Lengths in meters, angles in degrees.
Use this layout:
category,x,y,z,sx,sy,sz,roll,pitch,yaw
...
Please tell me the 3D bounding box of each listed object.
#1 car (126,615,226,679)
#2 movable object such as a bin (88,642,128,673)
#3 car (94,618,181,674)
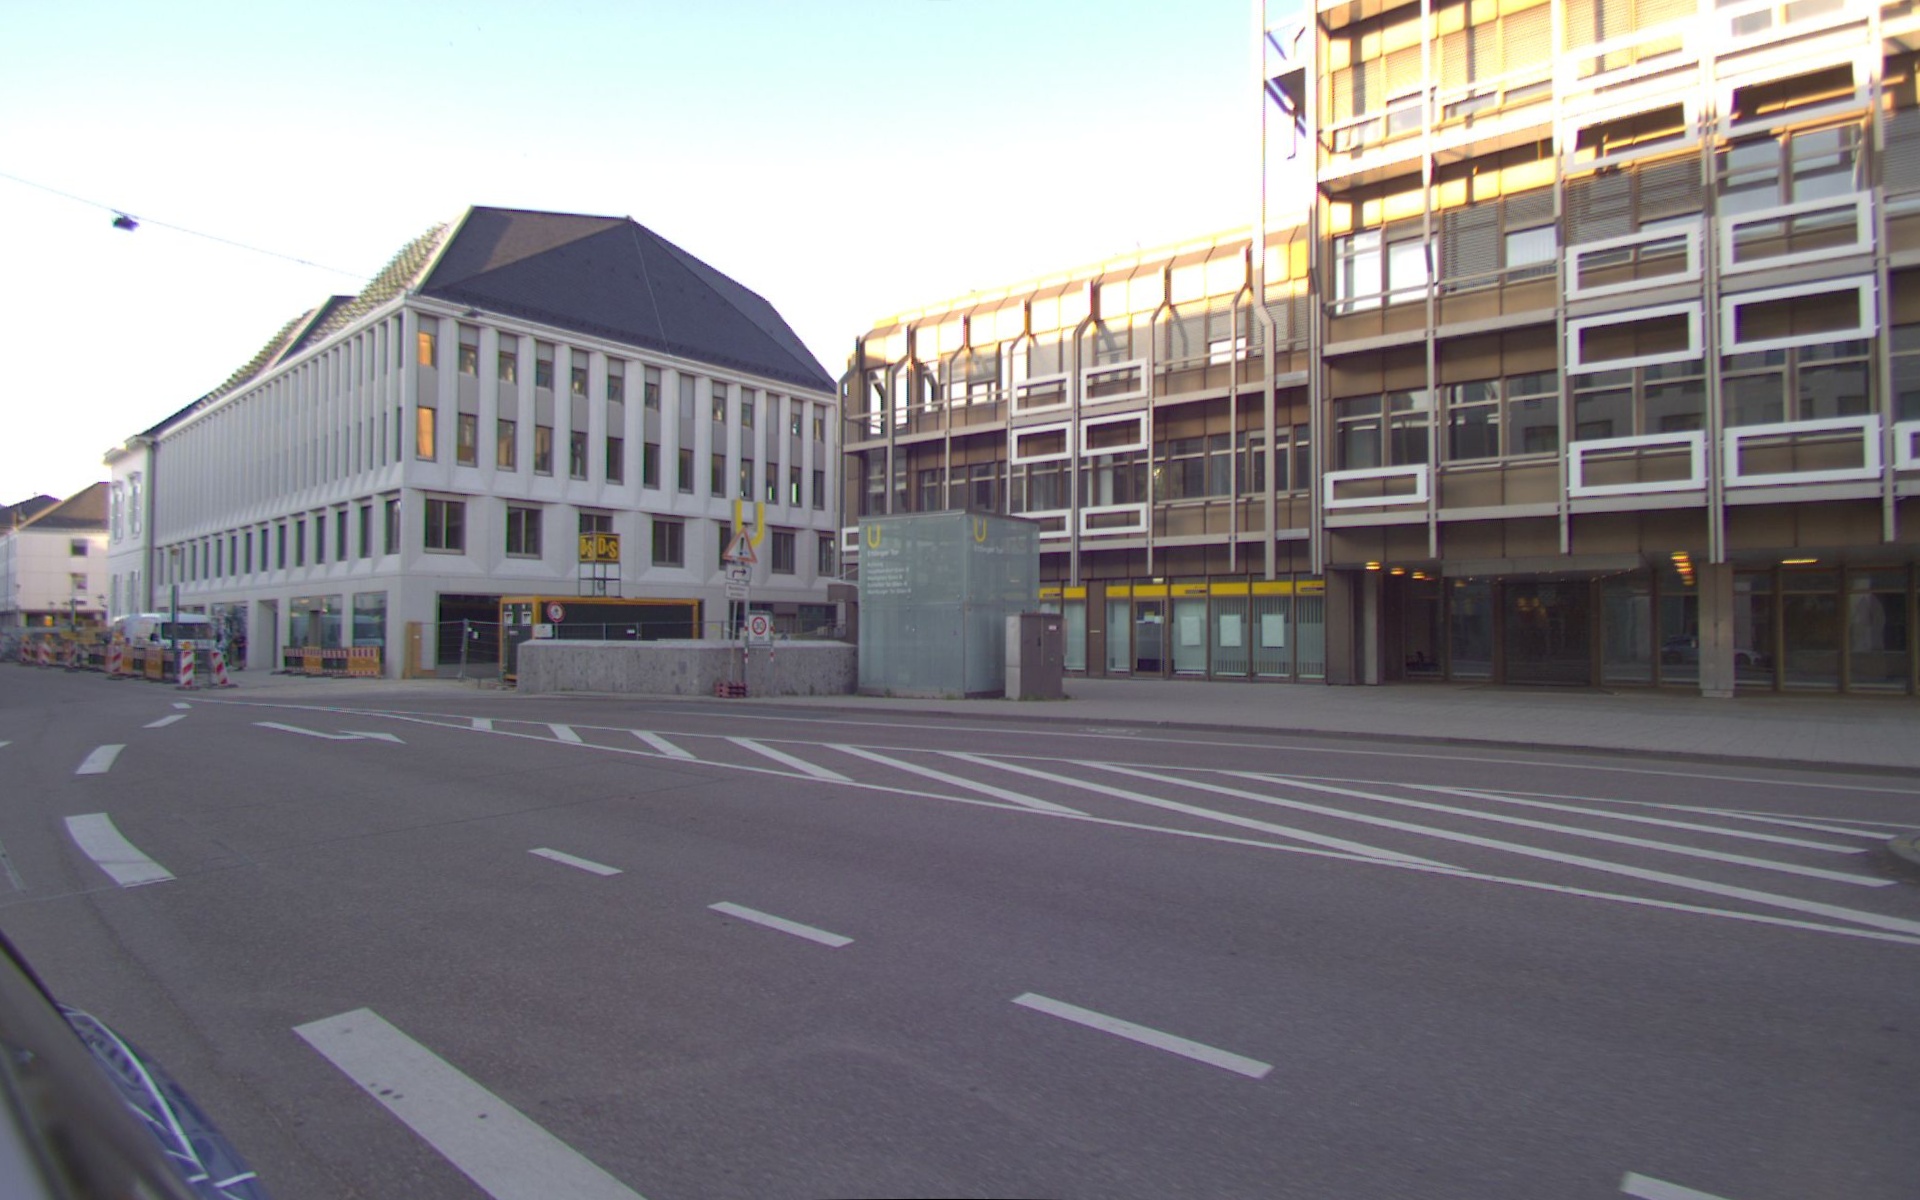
category,x,y,z,sx,sy,sz,roll,pitch,yaw
car,-32.990,1.942,42.533,5.995,2.489,2.151,-2,-3,41
movable object such as a bin,-41.943,2.813,49.821,1.388,1.477,1.036,-1,-2,29
car,-38.596,2.112,47.436,5.996,2.489,2.151,-2,-3,41
